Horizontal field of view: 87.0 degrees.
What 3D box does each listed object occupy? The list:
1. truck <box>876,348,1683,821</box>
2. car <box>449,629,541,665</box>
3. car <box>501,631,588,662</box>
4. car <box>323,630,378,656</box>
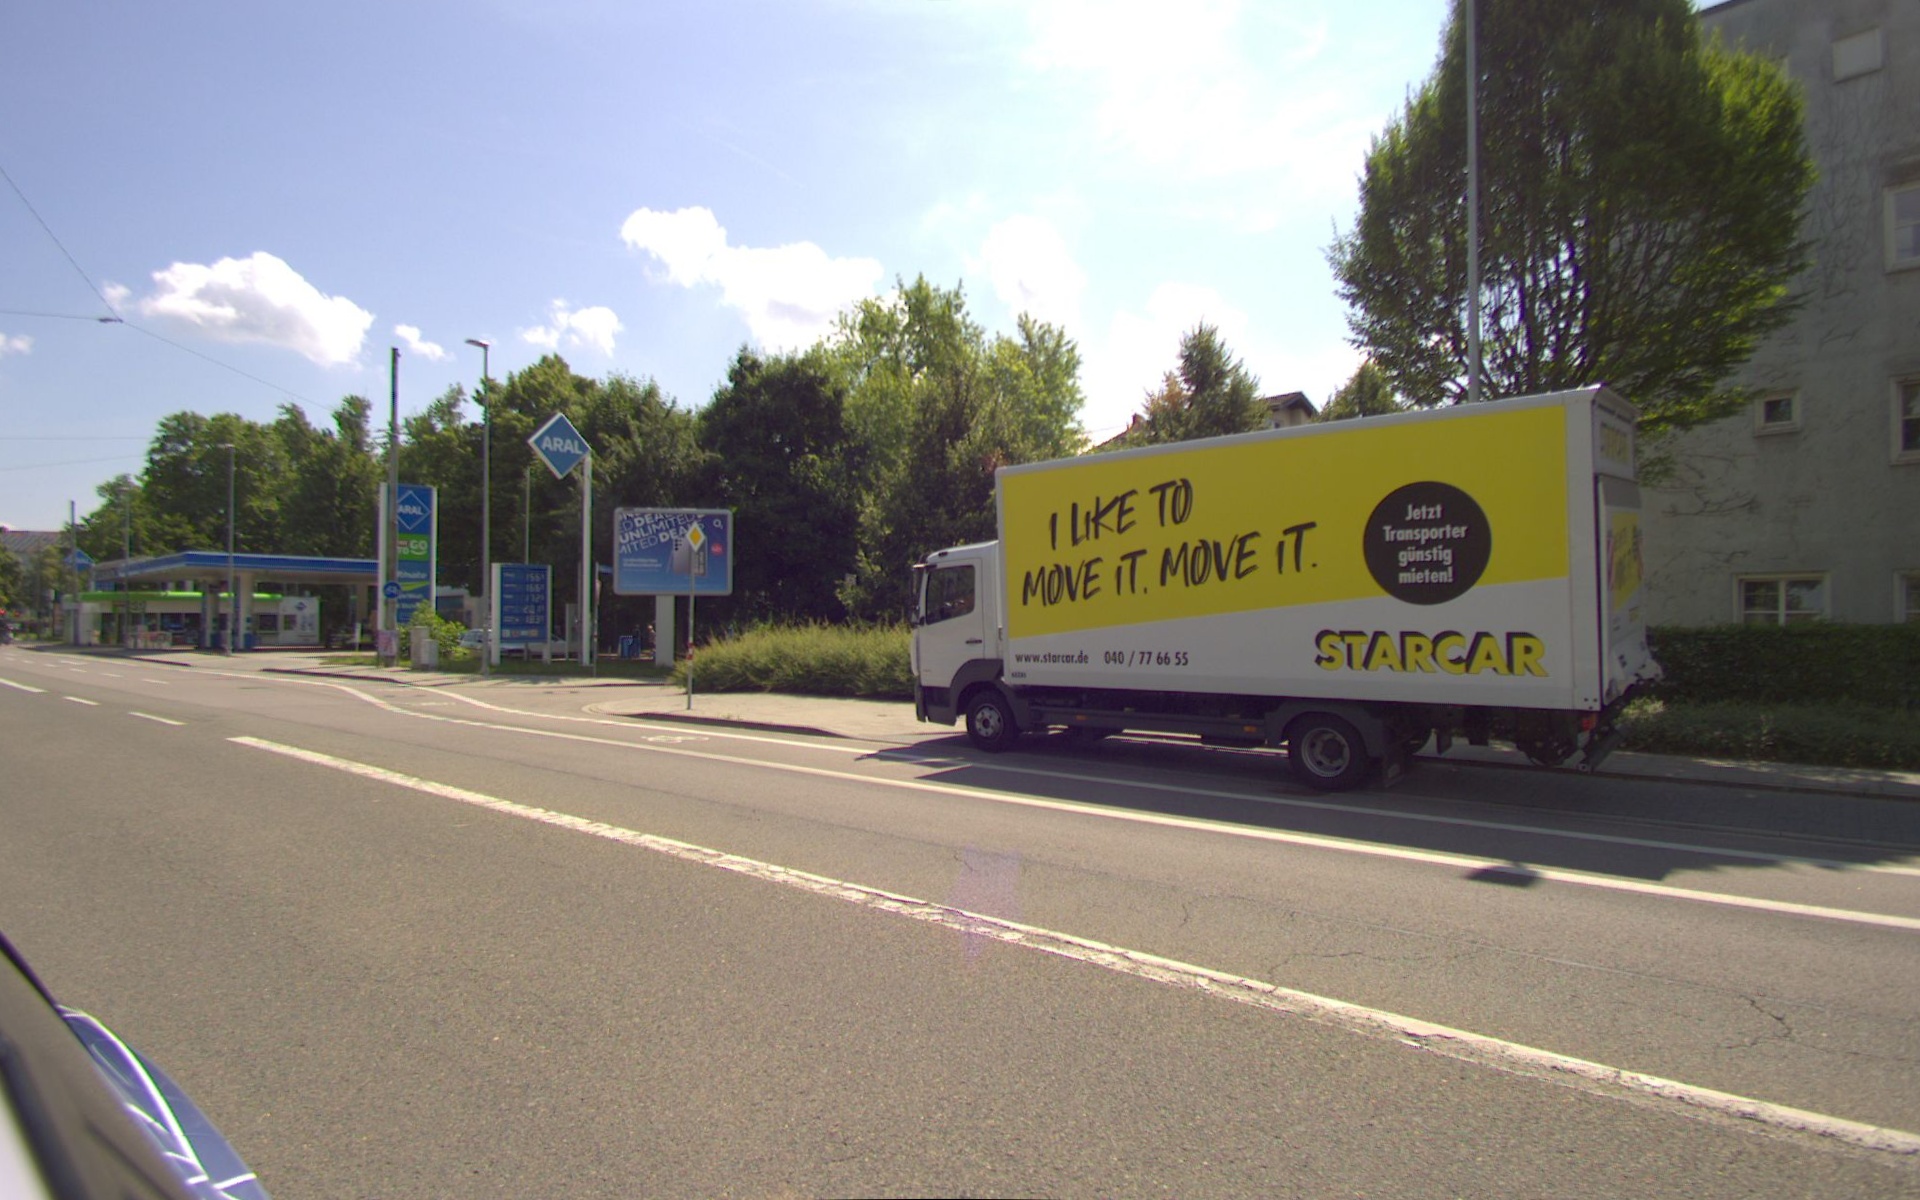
[{"bbox_3d":[2.961,-0.054,11.397,8.166,3.575,2.802,-2,0,41],"label":"truck"},{"bbox_3d":[-18.378,1.841,39.937,3.998,1.347,1.795,-2,-3,41],"label":"car"},{"bbox_3d":[-21.599,2.369,52.640,3.931,1.556,1.825,1,-2,-31],"label":"car"},{"bbox_3d":[-40.488,2.864,67.191,3.995,1.683,1.825,-2,-2,39],"label":"car"}]
